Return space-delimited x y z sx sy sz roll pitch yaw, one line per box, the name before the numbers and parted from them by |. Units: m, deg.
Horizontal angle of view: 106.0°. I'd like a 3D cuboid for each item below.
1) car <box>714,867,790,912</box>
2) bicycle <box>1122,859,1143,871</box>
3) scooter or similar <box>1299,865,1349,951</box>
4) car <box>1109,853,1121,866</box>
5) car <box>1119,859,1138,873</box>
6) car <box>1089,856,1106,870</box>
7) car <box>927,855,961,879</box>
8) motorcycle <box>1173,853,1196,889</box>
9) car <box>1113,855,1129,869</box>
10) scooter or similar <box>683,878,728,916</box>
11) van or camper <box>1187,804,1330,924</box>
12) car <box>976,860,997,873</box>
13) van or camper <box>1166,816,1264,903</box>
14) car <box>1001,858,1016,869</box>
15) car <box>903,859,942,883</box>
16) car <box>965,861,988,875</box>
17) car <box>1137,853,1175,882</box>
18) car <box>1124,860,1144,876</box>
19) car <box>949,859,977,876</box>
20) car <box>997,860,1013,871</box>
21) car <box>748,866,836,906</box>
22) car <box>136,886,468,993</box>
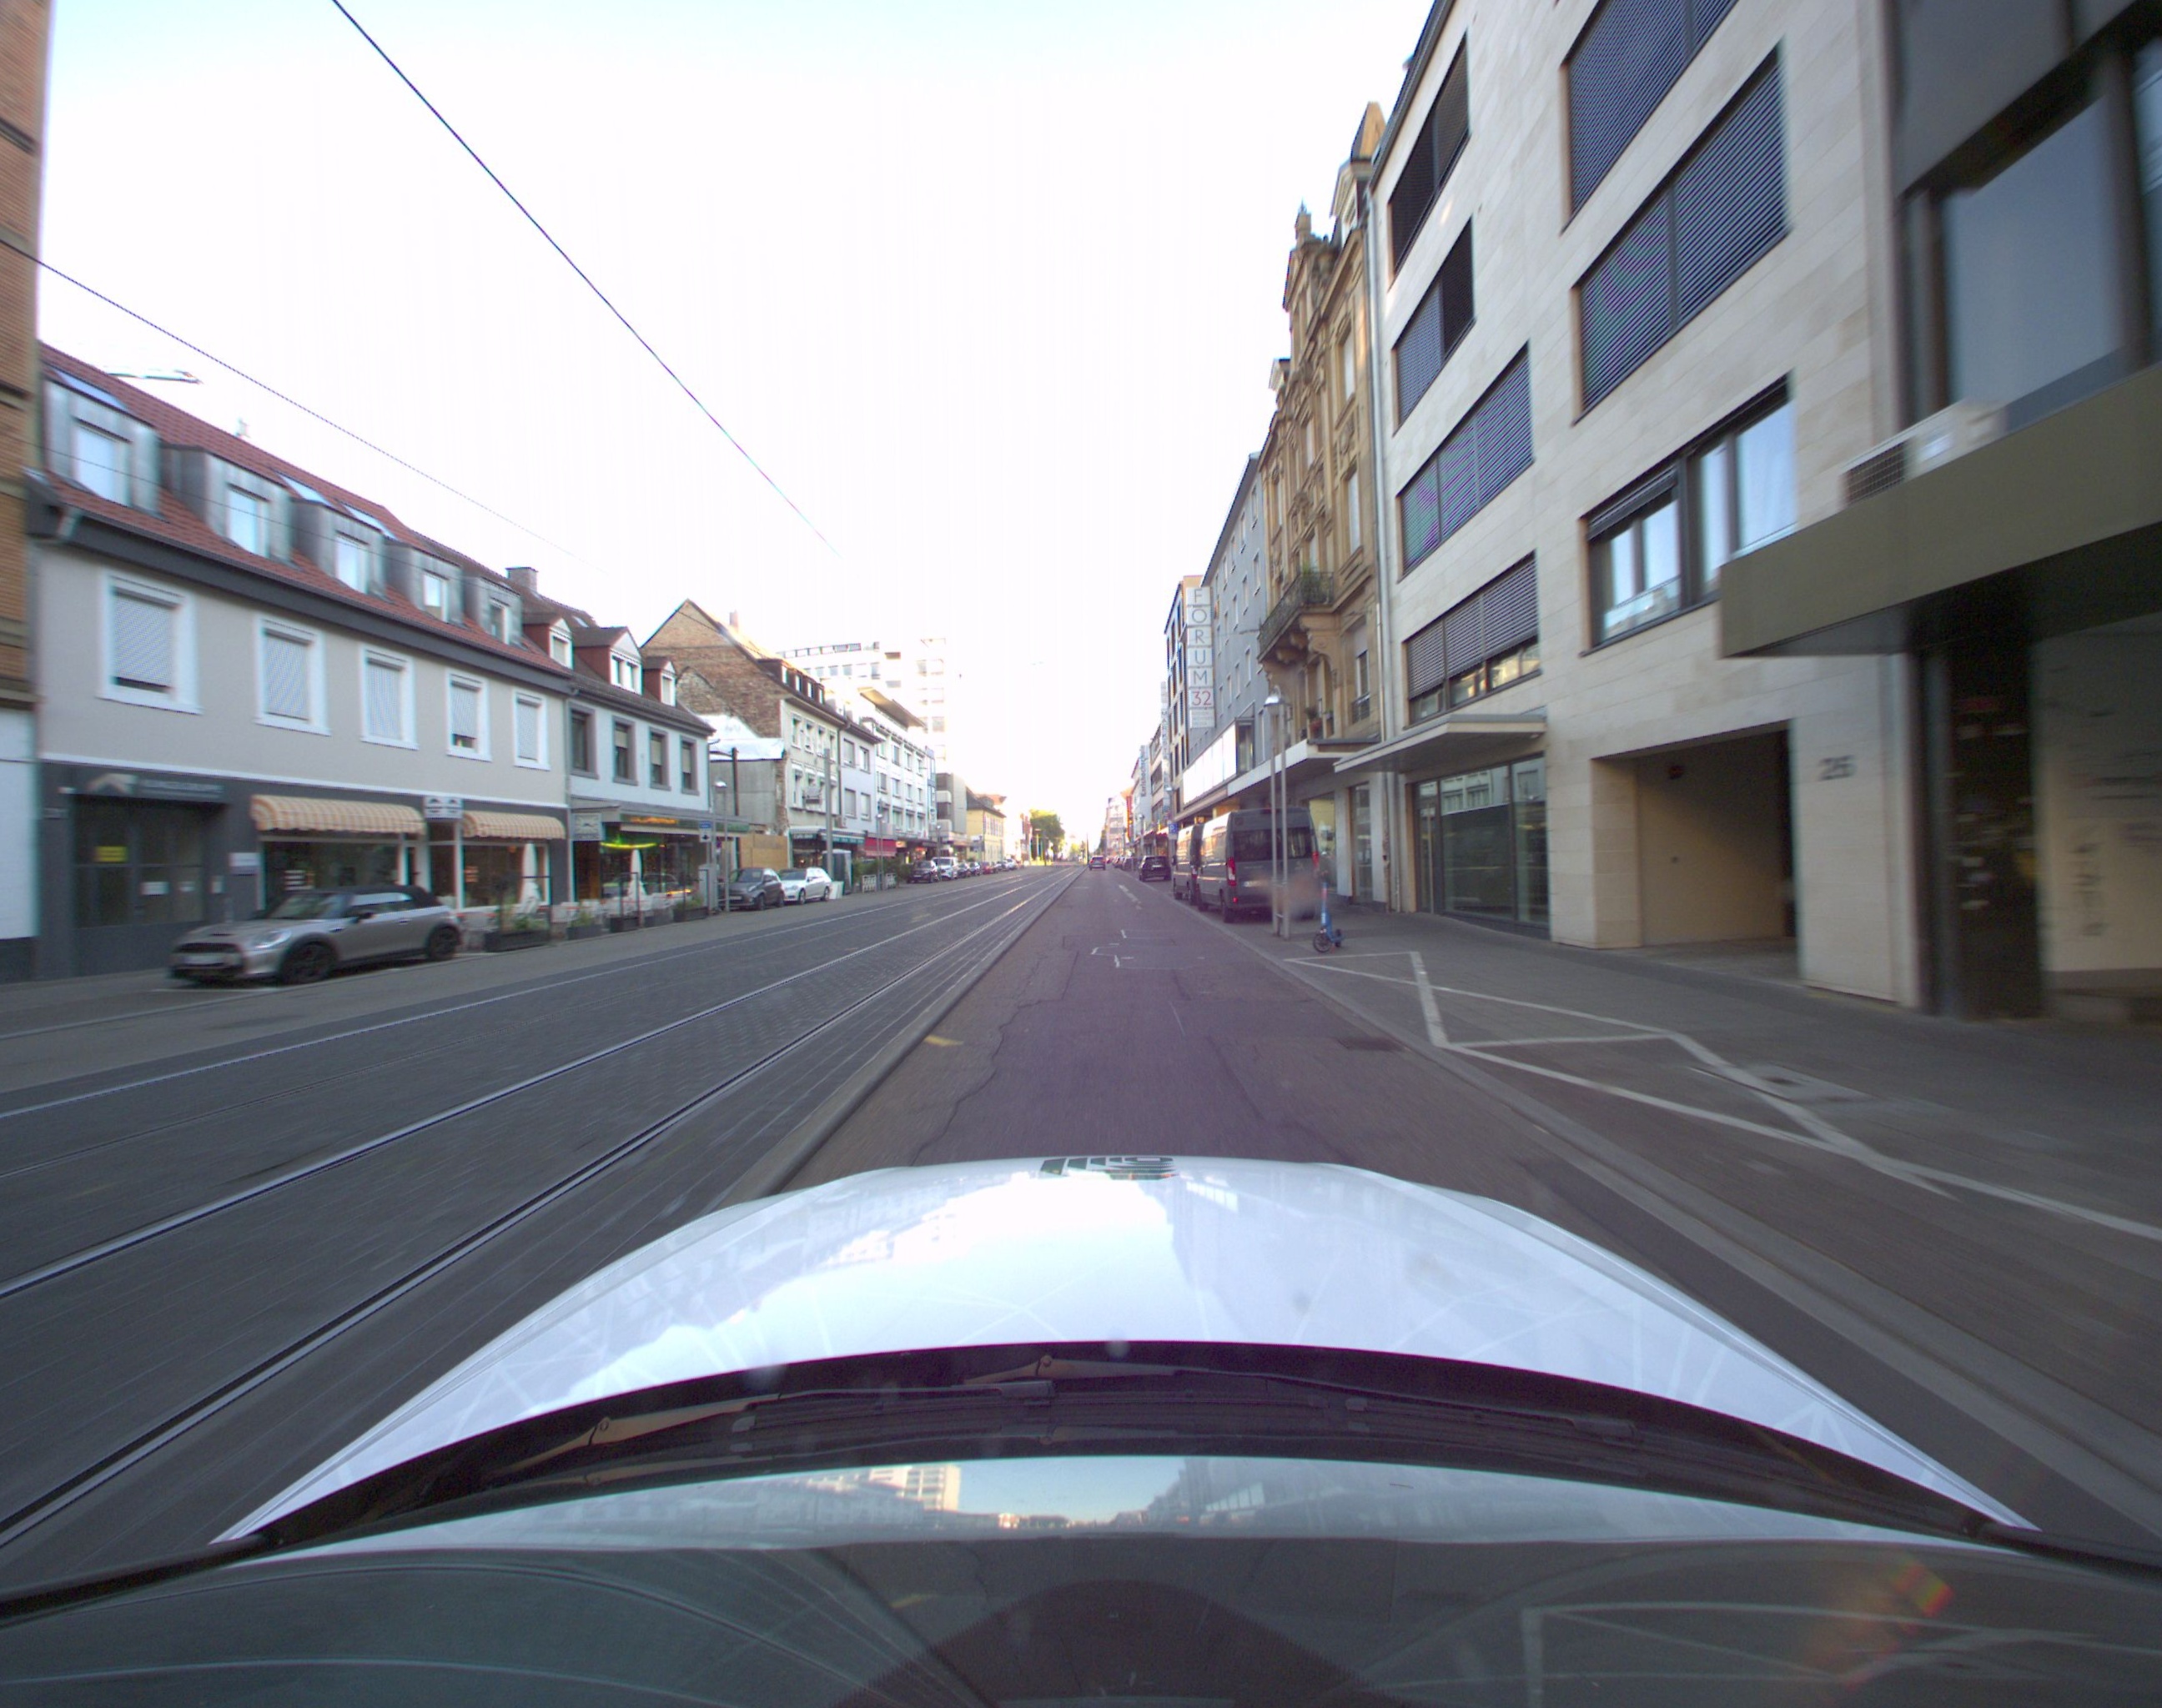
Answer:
car | -11.969 1.253 29.789 1.586 1.504 2.812 1 0 0
bicycle | 5.319 1.123 83.986 2.113 1.090 0.591 -2 -1 -2
scooter or similar | 3.790 0.824 12.665 0.350 1.224 1.123 -4 -1 34
car | 6.132 1.029 147.706 1.936 2.145 4.546 -4 0 2
car | 5.478 1.367 94.027 1.936 1.545 4.546 -4 0 2
car | 1.976 1.068 95.874 1.936 1.545 4.546 -1 0 2
car | -11.488 1.036 68.722 1.910 1.936 4.843 1 0 1
motorcycle | 4.380 0.687 34.498 0.808 1.417 2.010 -3 0 9
car | 5.360 1.074 109.209 1.936 1.703 4.546 -4 0 2
scooter or similar | -12.169 1.400 26.430 1.309 1.205 0.294 0 -1 1
van or camper | 4.188 0.231 20.406 2.181 2.426 6.133 -4 0 1
car | -10.766 1.414 92.984 1.785 1.339 3.891 1 0 0
van or camper | 4.265 0.179 26.907 2.182 2.426 5.516 -4 0 0
car | -10.414 1.361 117.517 1.785 1.449 3.891 1 0 0
car | -11.821 1.247 60.917 1.910 1.763 4.431 1 0 1
car | -10.652 1.446 82.946 1.785 1.339 3.891 1 0 0
car | 4.515 0.769 49.561 1.936 1.545 4.546 -4 0 2
car | 5.692 1.509 87.680 1.936 1.545 4.546 -4 0 2
car | -11.076 1.240 76.655 1.911 1.521 4.629 1 0 0
car | -10.378 1.582 111.472 1.785 1.449 3.891 1 0 0
car | -12.019 1.281 34.210 1.842 1.504 4.843 1 0 1
car | -12.647 1.298 13.632 1.727 1.389 3.866 1 0 2
